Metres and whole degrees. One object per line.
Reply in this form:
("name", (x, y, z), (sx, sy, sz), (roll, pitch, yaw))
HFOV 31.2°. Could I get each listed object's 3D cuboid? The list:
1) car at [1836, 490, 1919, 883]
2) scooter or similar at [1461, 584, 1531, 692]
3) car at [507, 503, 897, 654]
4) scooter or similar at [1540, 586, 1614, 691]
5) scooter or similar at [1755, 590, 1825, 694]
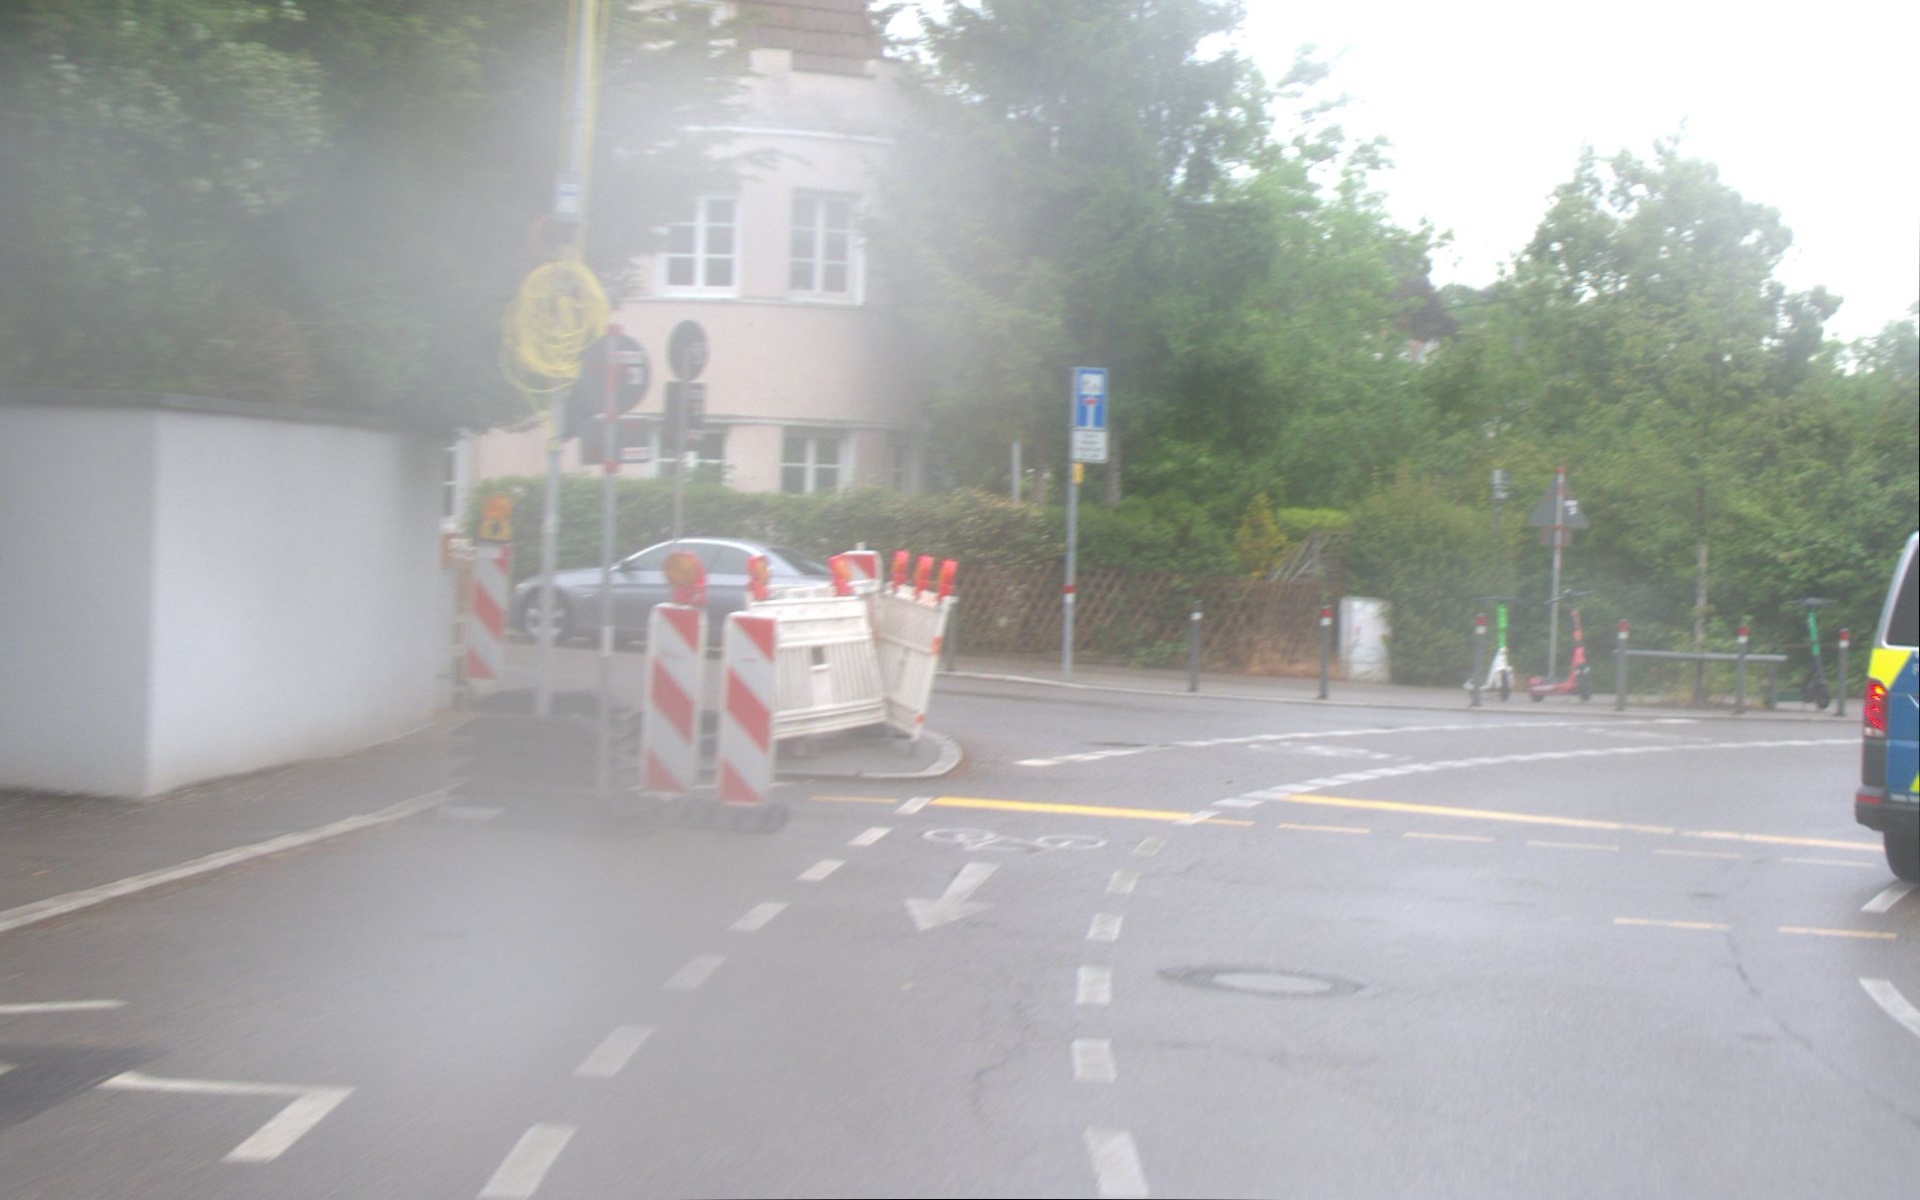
("car", (6.624, 0.527, 19.123), (1.912, 2.003, 4.430), (2, 0, 34))
("scooter or similar", (6.067, 0.420, 38.921), (0.464, 1.182, 1.026), (3, 0, -7))
("car", (-2.923, -0.246, 38.958), (3.992, 1.512, 1.726), (3, 0, 22))
("scooter or similar", (6.868, 0.422, 38.293), (0.464, 1.140, 0.995), (3, 0, -8))
("scooter or similar", (9.381, 0.472, 38.882), (0.464, 1.140, 0.835), (3, 0, -6))
